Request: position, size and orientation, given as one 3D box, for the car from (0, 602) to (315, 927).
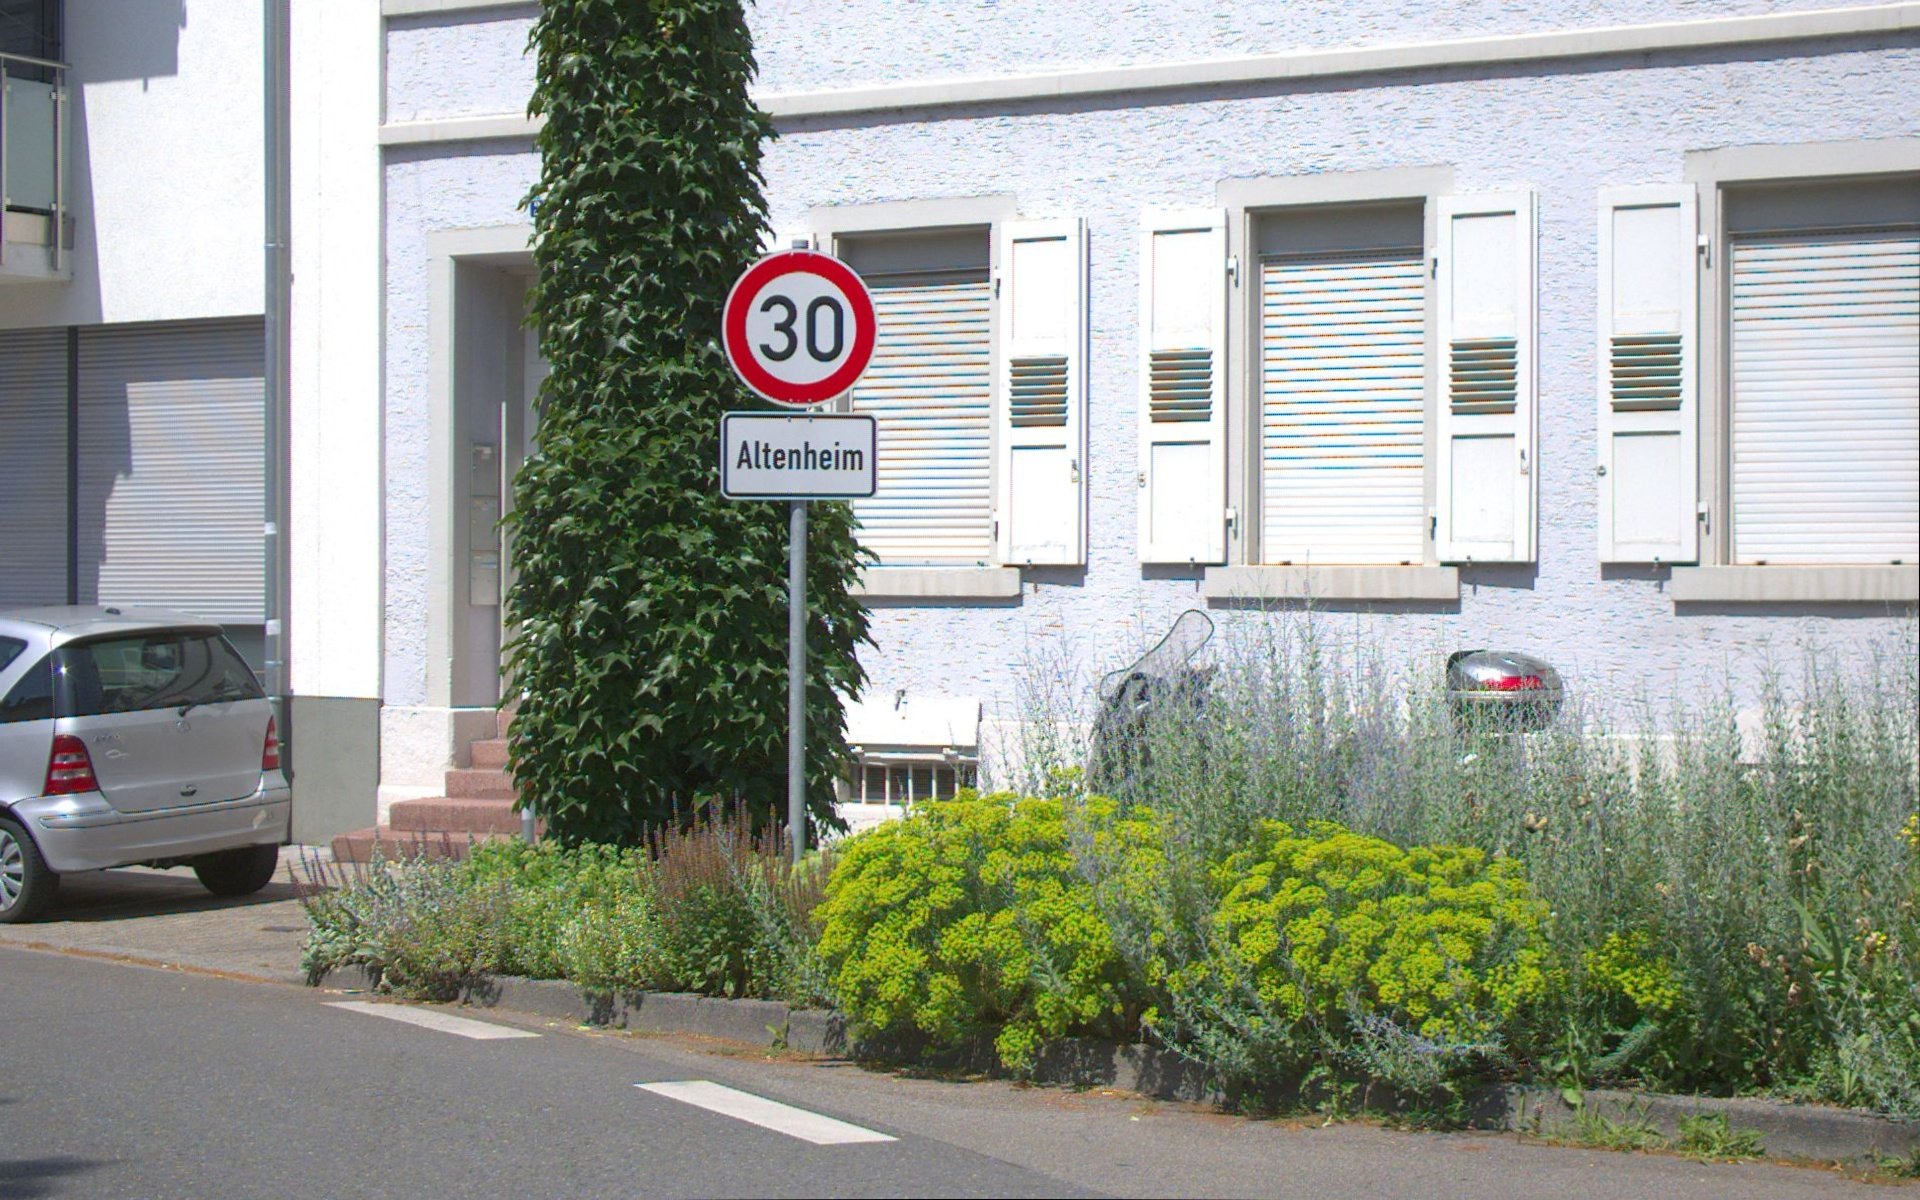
[{"bbox_3d":[-5.339,0.803,18.570,3.614,1.581,1.581,1,-1,38],"label":"car"}]
